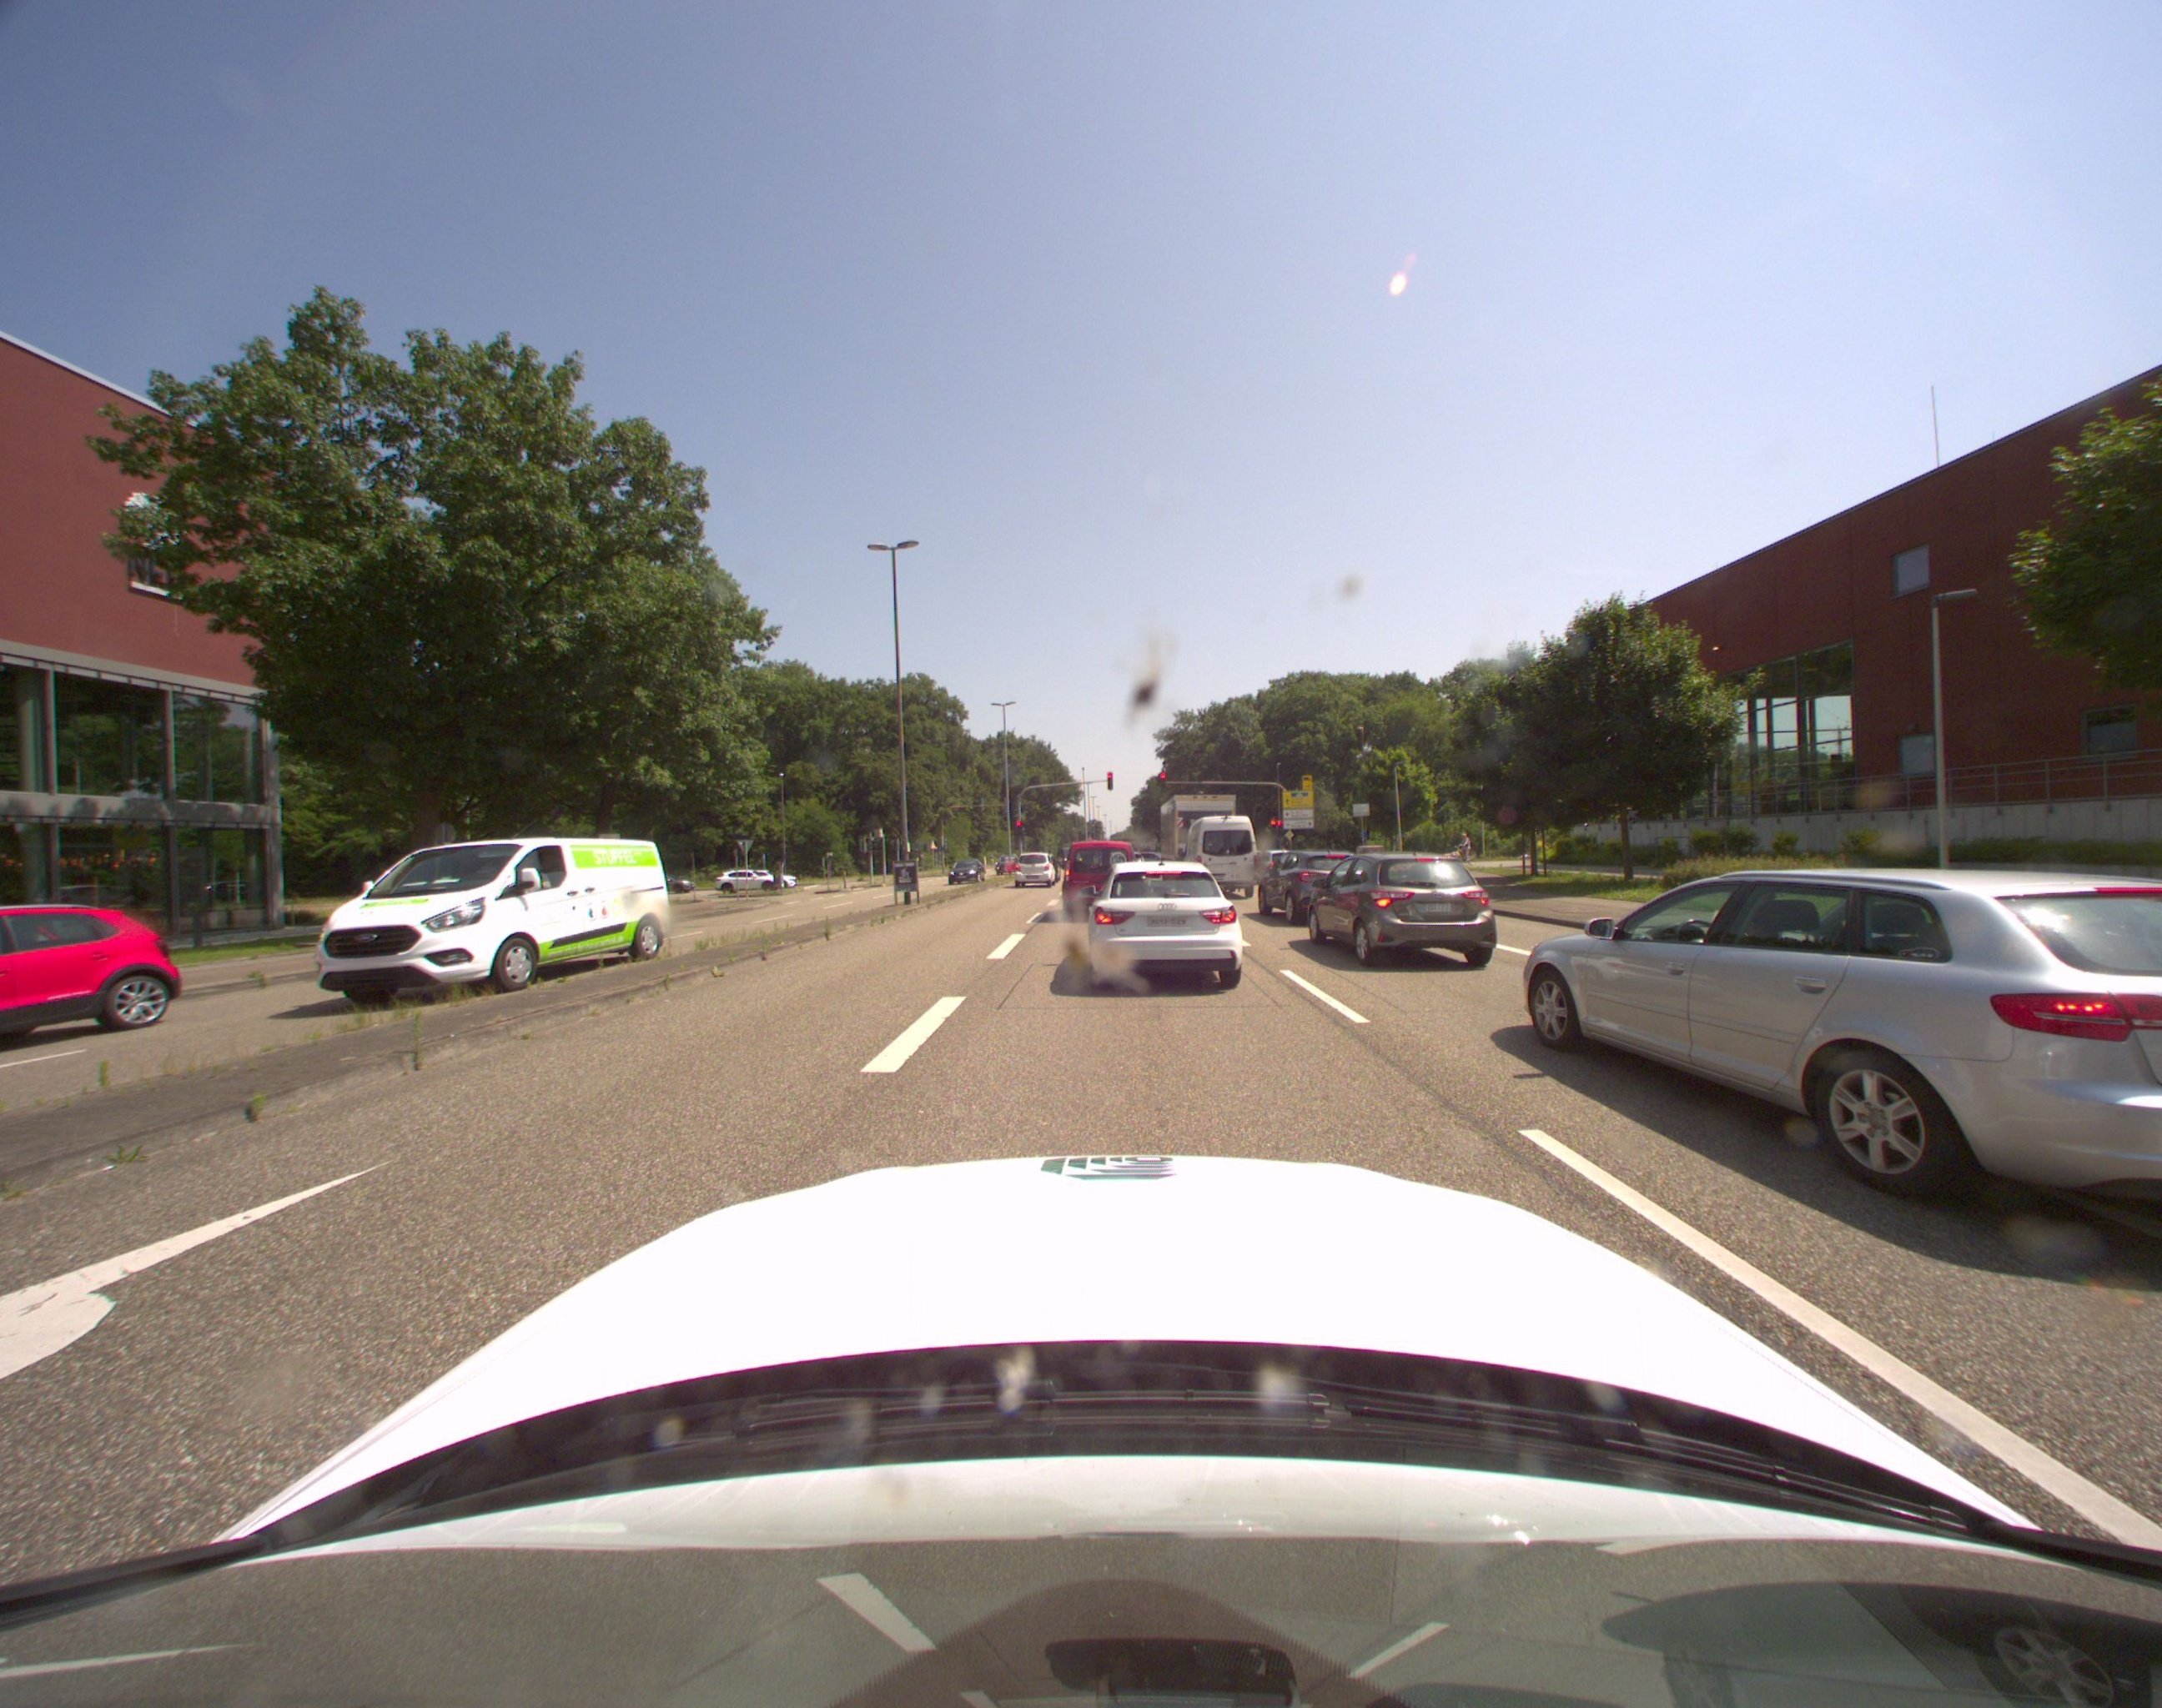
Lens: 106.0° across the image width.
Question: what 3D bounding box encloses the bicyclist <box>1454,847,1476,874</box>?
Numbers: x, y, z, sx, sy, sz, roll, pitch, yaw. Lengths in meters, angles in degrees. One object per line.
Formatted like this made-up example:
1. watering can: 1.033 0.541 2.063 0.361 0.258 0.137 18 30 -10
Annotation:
1. bicyclist: 20.610 0.339 43.755 0.826 1.439 0.597 -2 0 -8

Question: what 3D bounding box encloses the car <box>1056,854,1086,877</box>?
1. car: -1.022 1.073 77.224 1.996 2.013 3.982 -2 0 -13

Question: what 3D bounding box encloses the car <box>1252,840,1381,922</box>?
1. car: 5.086 0.531 18.139 1.706 1.593 4.092 -1 0 1

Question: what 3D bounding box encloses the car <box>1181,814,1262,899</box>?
1. car: 4.711 0.081 28.028 2.023 2.644 4.847 -1 0 1

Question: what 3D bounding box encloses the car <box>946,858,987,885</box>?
1. car: -6.725 1.003 48.226 1.673 1.339 4.000 -5 0 0

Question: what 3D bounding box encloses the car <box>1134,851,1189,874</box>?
1. car: 6.451 0.696 65.228 3.948 1.689 1.891 -2 0 36

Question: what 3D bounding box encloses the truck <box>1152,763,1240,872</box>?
1. truck: 5.240 -1.519 39.341 3.076 4.434 11.586 0 0 2

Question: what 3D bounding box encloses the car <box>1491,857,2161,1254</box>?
1. car: 4.312 0.712 4.890 1.706 1.362 4.092 0 0 1

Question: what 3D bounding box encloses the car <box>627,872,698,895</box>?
1. car: -31.791 2.245 61.965 4.370 1.681 1.805 0 -1 -9

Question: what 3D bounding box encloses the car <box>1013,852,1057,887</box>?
1. car: -2.041 0.679 37.225 1.706 1.492 4.092 -1 0 1

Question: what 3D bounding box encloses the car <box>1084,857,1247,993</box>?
1. car: 0.918 0.764 10.667 1.706 1.386 4.092 -1 0 1

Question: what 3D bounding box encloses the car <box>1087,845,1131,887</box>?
1. car: 1.132 0.452 34.136 1.706 1.631 4.092 -1 0 1

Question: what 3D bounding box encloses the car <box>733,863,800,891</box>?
1. car: -24.220 1.765 62.798 4.366 1.681 1.807 -5 0 -6

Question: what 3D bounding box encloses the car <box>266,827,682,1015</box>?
1. car: -7.939 0.737 11.488 1.987 1.945 4.909 -4 0 1

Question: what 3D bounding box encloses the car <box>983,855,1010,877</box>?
1. car: -6.950 0.971 67.440 1.681 1.600 3.885 -5 0 1

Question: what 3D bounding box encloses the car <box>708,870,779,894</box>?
1. car: -24.283 2.017 58.681 4.365 1.681 1.807 0 -1 -6

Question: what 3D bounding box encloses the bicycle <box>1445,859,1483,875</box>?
1. bicycle: 20.544 0.699 43.719 1.820 0.766 0.599 -2 0 -9

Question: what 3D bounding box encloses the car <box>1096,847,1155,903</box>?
1. car: 1.369 0.611 26.291 1.706 1.631 4.092 -1 0 1

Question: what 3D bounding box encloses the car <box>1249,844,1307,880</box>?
1. car: 9.026 0.338 37.573 1.706 1.546 4.092 -1 0 1

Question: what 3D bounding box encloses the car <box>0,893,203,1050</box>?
1. car: -11.548 1.272 7.878 1.699 1.452 3.893 -5 0 2

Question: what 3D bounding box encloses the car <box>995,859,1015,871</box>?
1. car: -8.762 1.229 93.968 1.711 1.262 4.303 -4 0 1

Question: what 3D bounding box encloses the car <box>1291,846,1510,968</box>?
1. car: 4.525 0.662 12.232 1.706 1.478 4.092 2 0 1

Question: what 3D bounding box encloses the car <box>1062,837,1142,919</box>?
1. car: 0.492 0.510 19.733 1.706 1.748 4.092 -1 0 1
